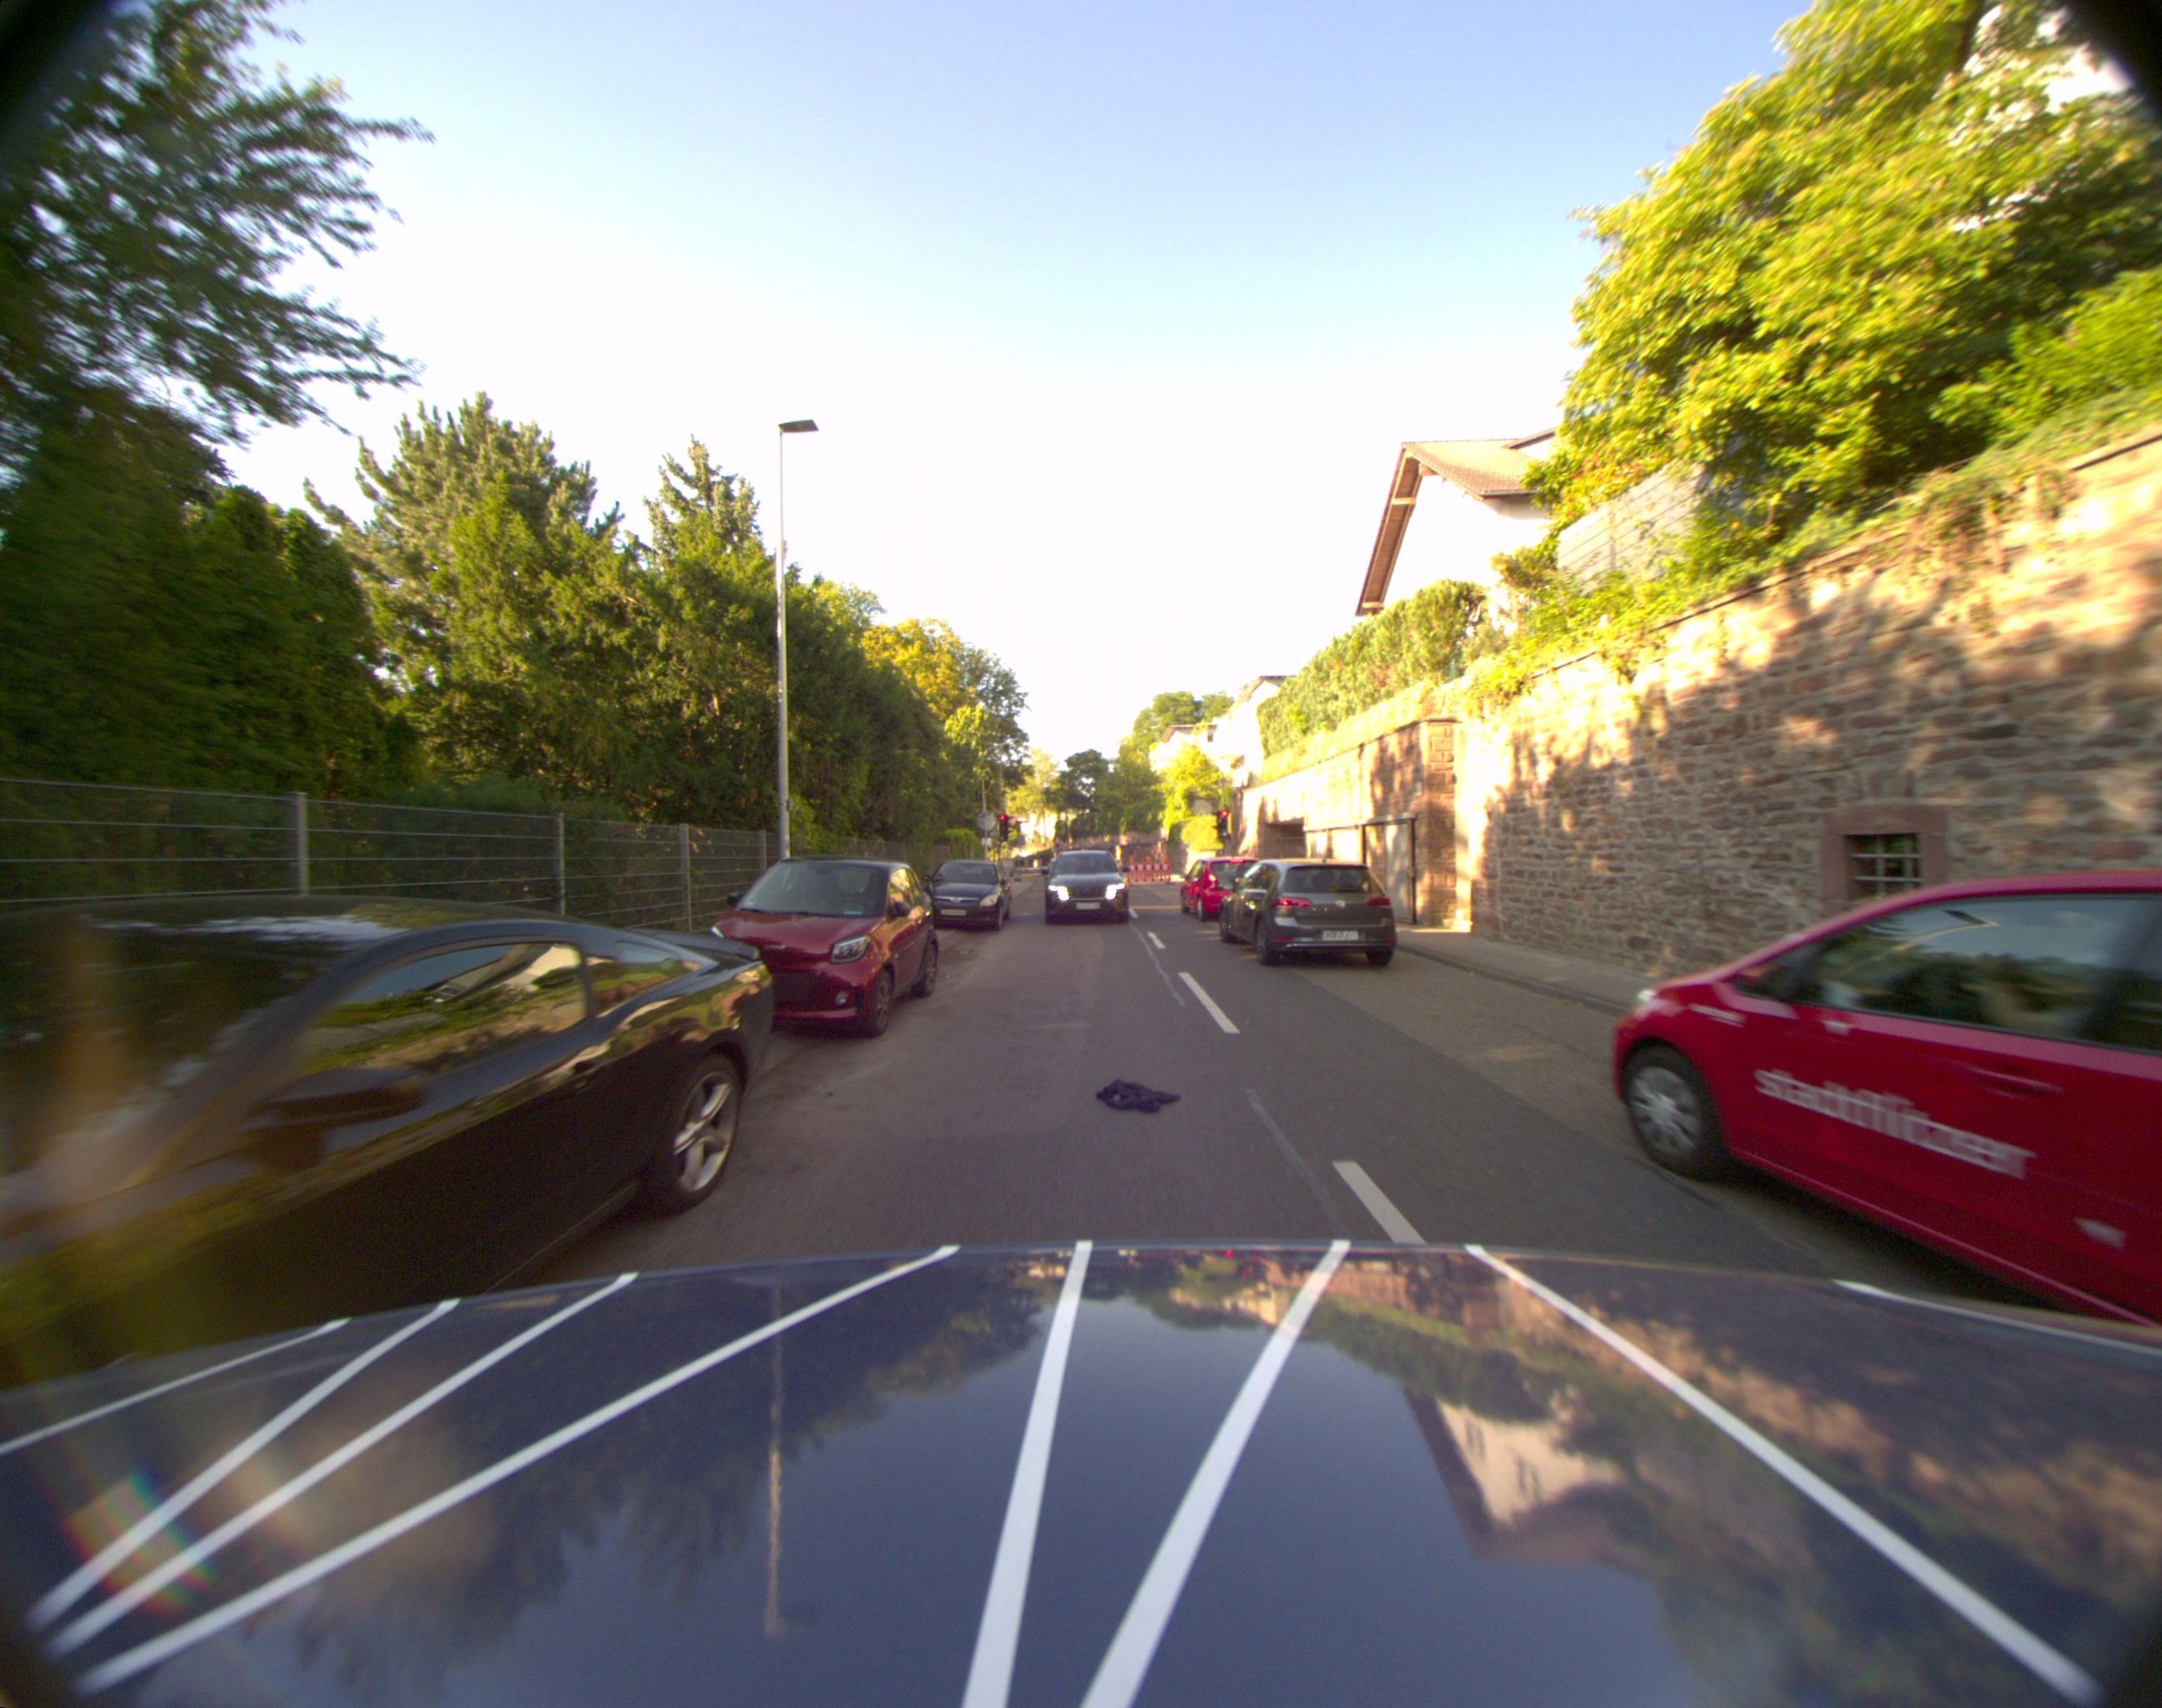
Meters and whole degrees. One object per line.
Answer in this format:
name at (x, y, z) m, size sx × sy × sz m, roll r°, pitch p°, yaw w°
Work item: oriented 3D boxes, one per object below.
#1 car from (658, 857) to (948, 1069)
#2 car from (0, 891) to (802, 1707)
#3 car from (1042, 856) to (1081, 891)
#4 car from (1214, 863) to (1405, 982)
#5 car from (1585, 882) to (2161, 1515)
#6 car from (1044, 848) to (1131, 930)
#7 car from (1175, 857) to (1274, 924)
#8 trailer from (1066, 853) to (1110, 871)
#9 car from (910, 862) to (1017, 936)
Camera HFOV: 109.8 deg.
car at (-2.497, 0.880, 7.549) m, size 1.657 × 1.555 × 2.872 m, roll 4°, pitch 1°, yaw 2°
car at (-2.619, 1.010, 2.055) m, size 1.714 × 1.489 × 4.814 m, roll -3°, pitch 0°, yaw 2°
car at (-0.881, 0.861, 35.337) m, size 1.662 × 1.468 × 3.682 m, roll -2°, pitch 1°, yaw -1°
car at (3.169, 0.872, 11.370) m, size 1.653 × 1.403 × 3.930 m, roll 0°, pitch 0°, yaw 0°
car at (3.428, 0.893, 2.208) m, size 1.554 × 1.457 × 3.568 m, roll 1°, pitch 0°, yaw 1°
car at (0.057, 0.732, 18.405) m, size 1.788 × 1.639 × 4.472 m, roll -2°, pitch 1°, yaw -2°
car at (3.352, 0.810, 18.347) m, size 1.631 × 1.413 × 3.562 m, roll 0°, pitch 0°, yaw -2°
trailer at (0.584, 0.714, 71.551) m, size 2.649 × 1.481 × 7.111 m, roll -2°, pitch 0°, yaw -11°
car at (-2.532, 0.919, 17.304) m, size 1.799 × 1.432 × 4.000 m, roll 0°, pitch 0°, yaw 0°
